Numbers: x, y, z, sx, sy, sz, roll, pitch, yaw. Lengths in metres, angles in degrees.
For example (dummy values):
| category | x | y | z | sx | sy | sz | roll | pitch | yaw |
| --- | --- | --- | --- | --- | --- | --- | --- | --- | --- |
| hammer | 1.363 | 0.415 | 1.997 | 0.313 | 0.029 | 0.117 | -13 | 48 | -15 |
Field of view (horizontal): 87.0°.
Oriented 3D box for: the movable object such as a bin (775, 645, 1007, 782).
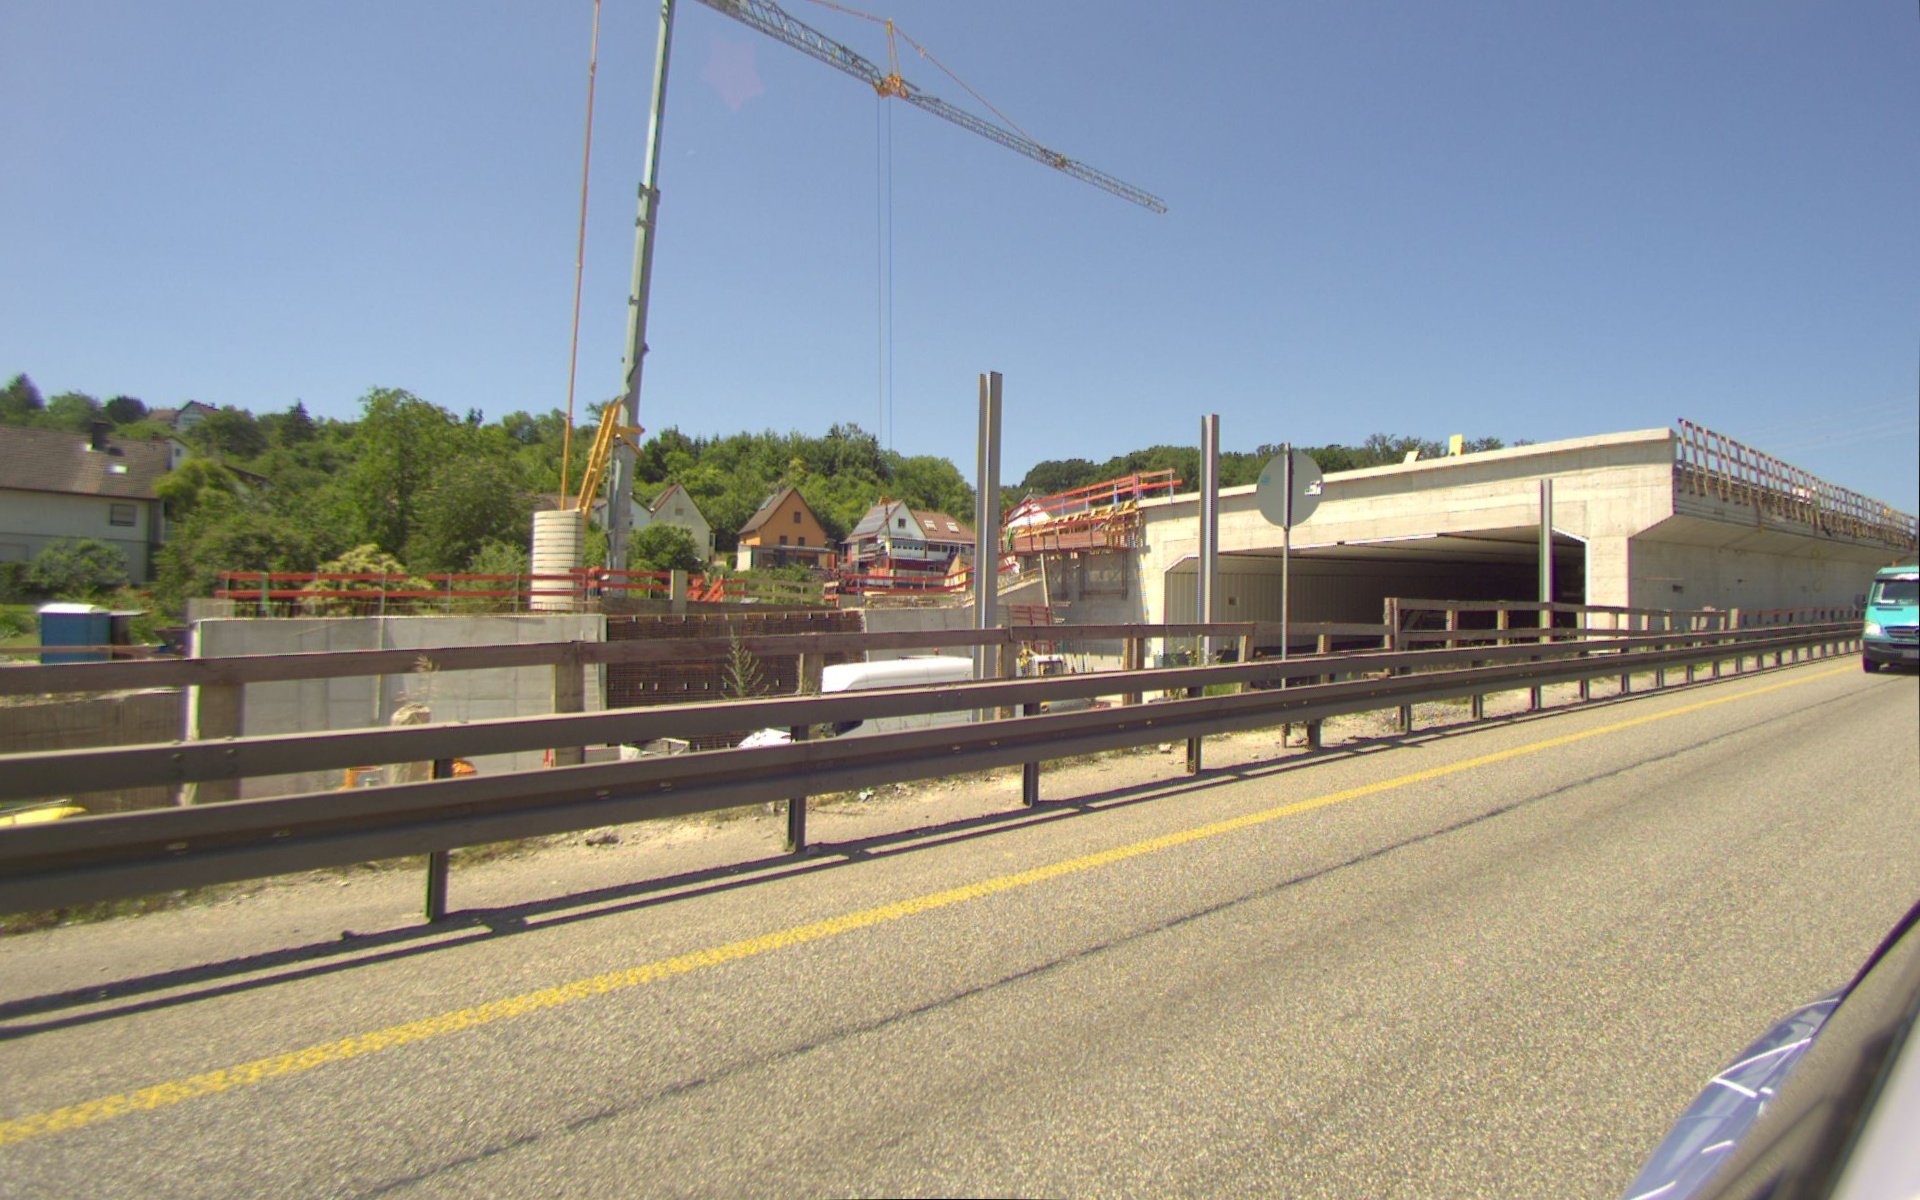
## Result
| category | x | y | z | sx | sy | sz | roll | pitch | yaw |
| --- | --- | --- | --- | --- | --- | --- | --- | --- | --- |
| movable object such as a bin | -1.622 | 2.641 | 25.036 | 5.398 | 2.710 | 2.151 | -1 | 1 | -36 |

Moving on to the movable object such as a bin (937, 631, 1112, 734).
| category | x | y | z | sx | sy | sz | roll | pitch | yaw |
| --- | --- | --- | --- | --- | --- | --- | --- | --- | --- |
| movable object such as a bin | 1.965 | 2.972 | 34.869 | 3.425 | 2.941 | 7.159 | -1 | -8 | -18 |

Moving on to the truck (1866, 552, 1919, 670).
| category | x | y | z | sx | sy | sz | roll | pitch | yaw |
| --- | --- | --- | --- | --- | --- | --- | --- | --- | --- |
| truck | 22.219 | 0.140 | 22.494 | 7.303 | 2.386 | 2.138 | -2 | 1 | -40 |

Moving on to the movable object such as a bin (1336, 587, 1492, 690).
| category | x | y | z | sx | sy | sz | roll | pitch | yaw |
| --- | --- | --- | --- | --- | --- | --- | --- | --- | --- |
| movable object such as a bin | 20.686 | 1.548 | 45.802 | 8.998 | 4.113 | 2.958 | -2 | 1 | -41 |

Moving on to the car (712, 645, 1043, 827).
| category | x | y | z | sx | sy | sz | roll | pitch | yaw |
| --- | --- | --- | --- | --- | --- | --- | --- | --- | --- |
| car | -1.545 | 2.620 | 21.415 | 6.894 | 2.891 | 2.151 | -2 | 1 | -37 |
